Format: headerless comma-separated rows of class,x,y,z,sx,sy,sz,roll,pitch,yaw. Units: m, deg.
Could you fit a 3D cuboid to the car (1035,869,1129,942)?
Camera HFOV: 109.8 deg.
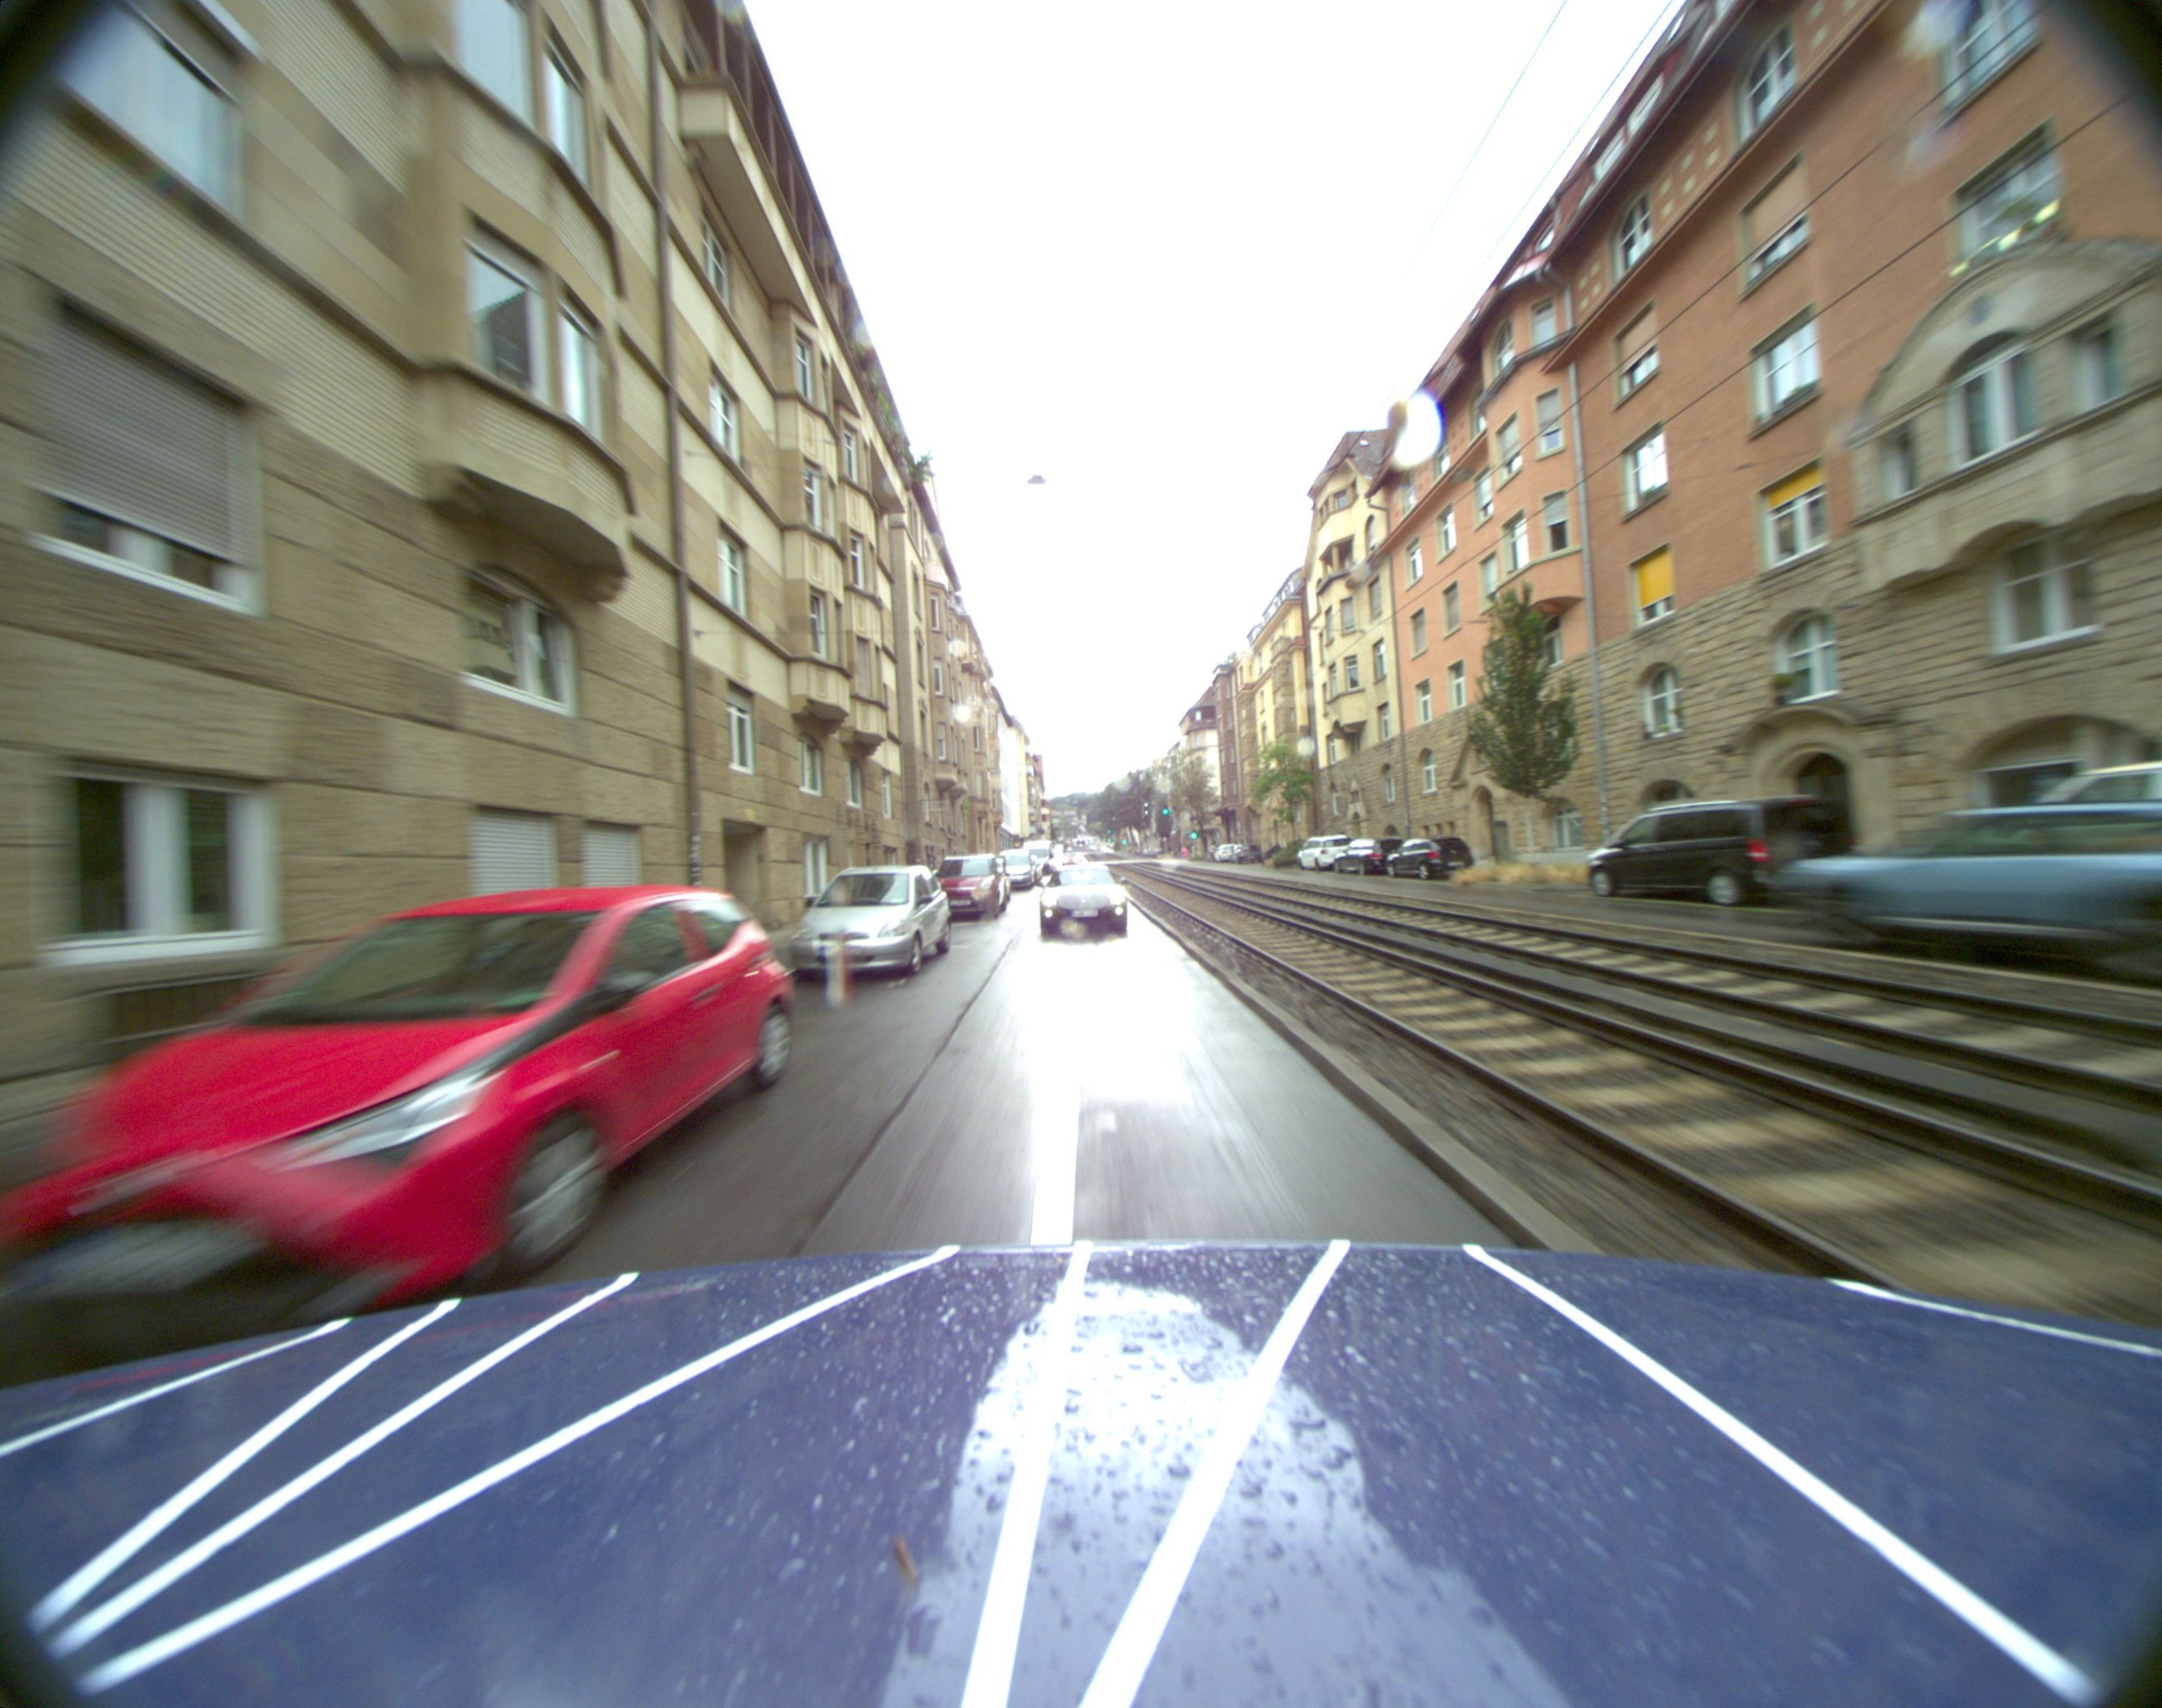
car,0.035,1.003,16.378,1.737,1.262,4.257,0,0,0

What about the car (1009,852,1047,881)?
car,-3.118,0.724,45.417,1.935,1.516,4.058,-3,0,0

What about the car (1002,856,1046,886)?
car,-3.005,0.870,40.649,1.931,1.380,3.981,-3,0,0

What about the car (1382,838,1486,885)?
car,12.466,0.226,27.080,1.760,1.396,3.693,-5,1,-3

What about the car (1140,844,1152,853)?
car,12.321,-0.980,143.715,1.794,1.609,4.257,-2,1,0

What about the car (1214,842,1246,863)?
car,12.175,-0.144,62.364,1.759,1.443,4.043,-5,1,1

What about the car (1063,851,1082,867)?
car,-0.801,0.462,77.592,1.794,1.459,4.257,-2,1,0

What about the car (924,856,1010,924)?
car,-2.973,0.881,20.592,1.774,1.592,3.999,-1,0,-1

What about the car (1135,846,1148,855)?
car,10.564,-0.628,132.285,1.794,1.339,4.257,-2,1,0

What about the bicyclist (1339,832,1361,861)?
bicyclist,15.049,-0.418,42.565,0.894,1.592,0.774,-2,1,0

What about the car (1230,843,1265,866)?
car,12.291,-0.003,56.306,1.717,1.473,3.712,-5,1,1

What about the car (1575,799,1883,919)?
car,12.328,0.057,15.010,1.911,1.919,4.831,-2,1,0

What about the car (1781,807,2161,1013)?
car,9.414,0.396,7.074,1.926,1.608,4.127,-2,1,-1

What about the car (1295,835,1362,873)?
car,12.162,-0.031,37.644,1.760,1.663,4.259,-5,1,-1

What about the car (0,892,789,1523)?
car,-2.974,1.054,3.776,1.710,1.444,3.531,-3,0,-2

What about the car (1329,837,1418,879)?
car,12.183,0.127,31.982,1.760,1.482,4.596,-4,1,-2

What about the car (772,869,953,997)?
car,-3.033,1.027,11.284,1.598,1.478,3.522,-2,0,0

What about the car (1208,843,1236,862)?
car,12.456,-0.154,67.174,1.759,1.419,3.712,-5,1,1

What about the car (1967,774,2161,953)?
car,12.411,0.078,7.641,1.733,1.919,4.475,-2,1,-1

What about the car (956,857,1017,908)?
car,-3.172,0.925,26.184,1.632,1.502,3.530,-3,0,-1

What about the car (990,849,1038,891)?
car,-3.068,0.708,35.443,1.811,1.758,3.962,-2,0,0

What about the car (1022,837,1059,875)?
car,-2.925,0.121,56.421,1.991,2.520,6.154,-3,0,2
